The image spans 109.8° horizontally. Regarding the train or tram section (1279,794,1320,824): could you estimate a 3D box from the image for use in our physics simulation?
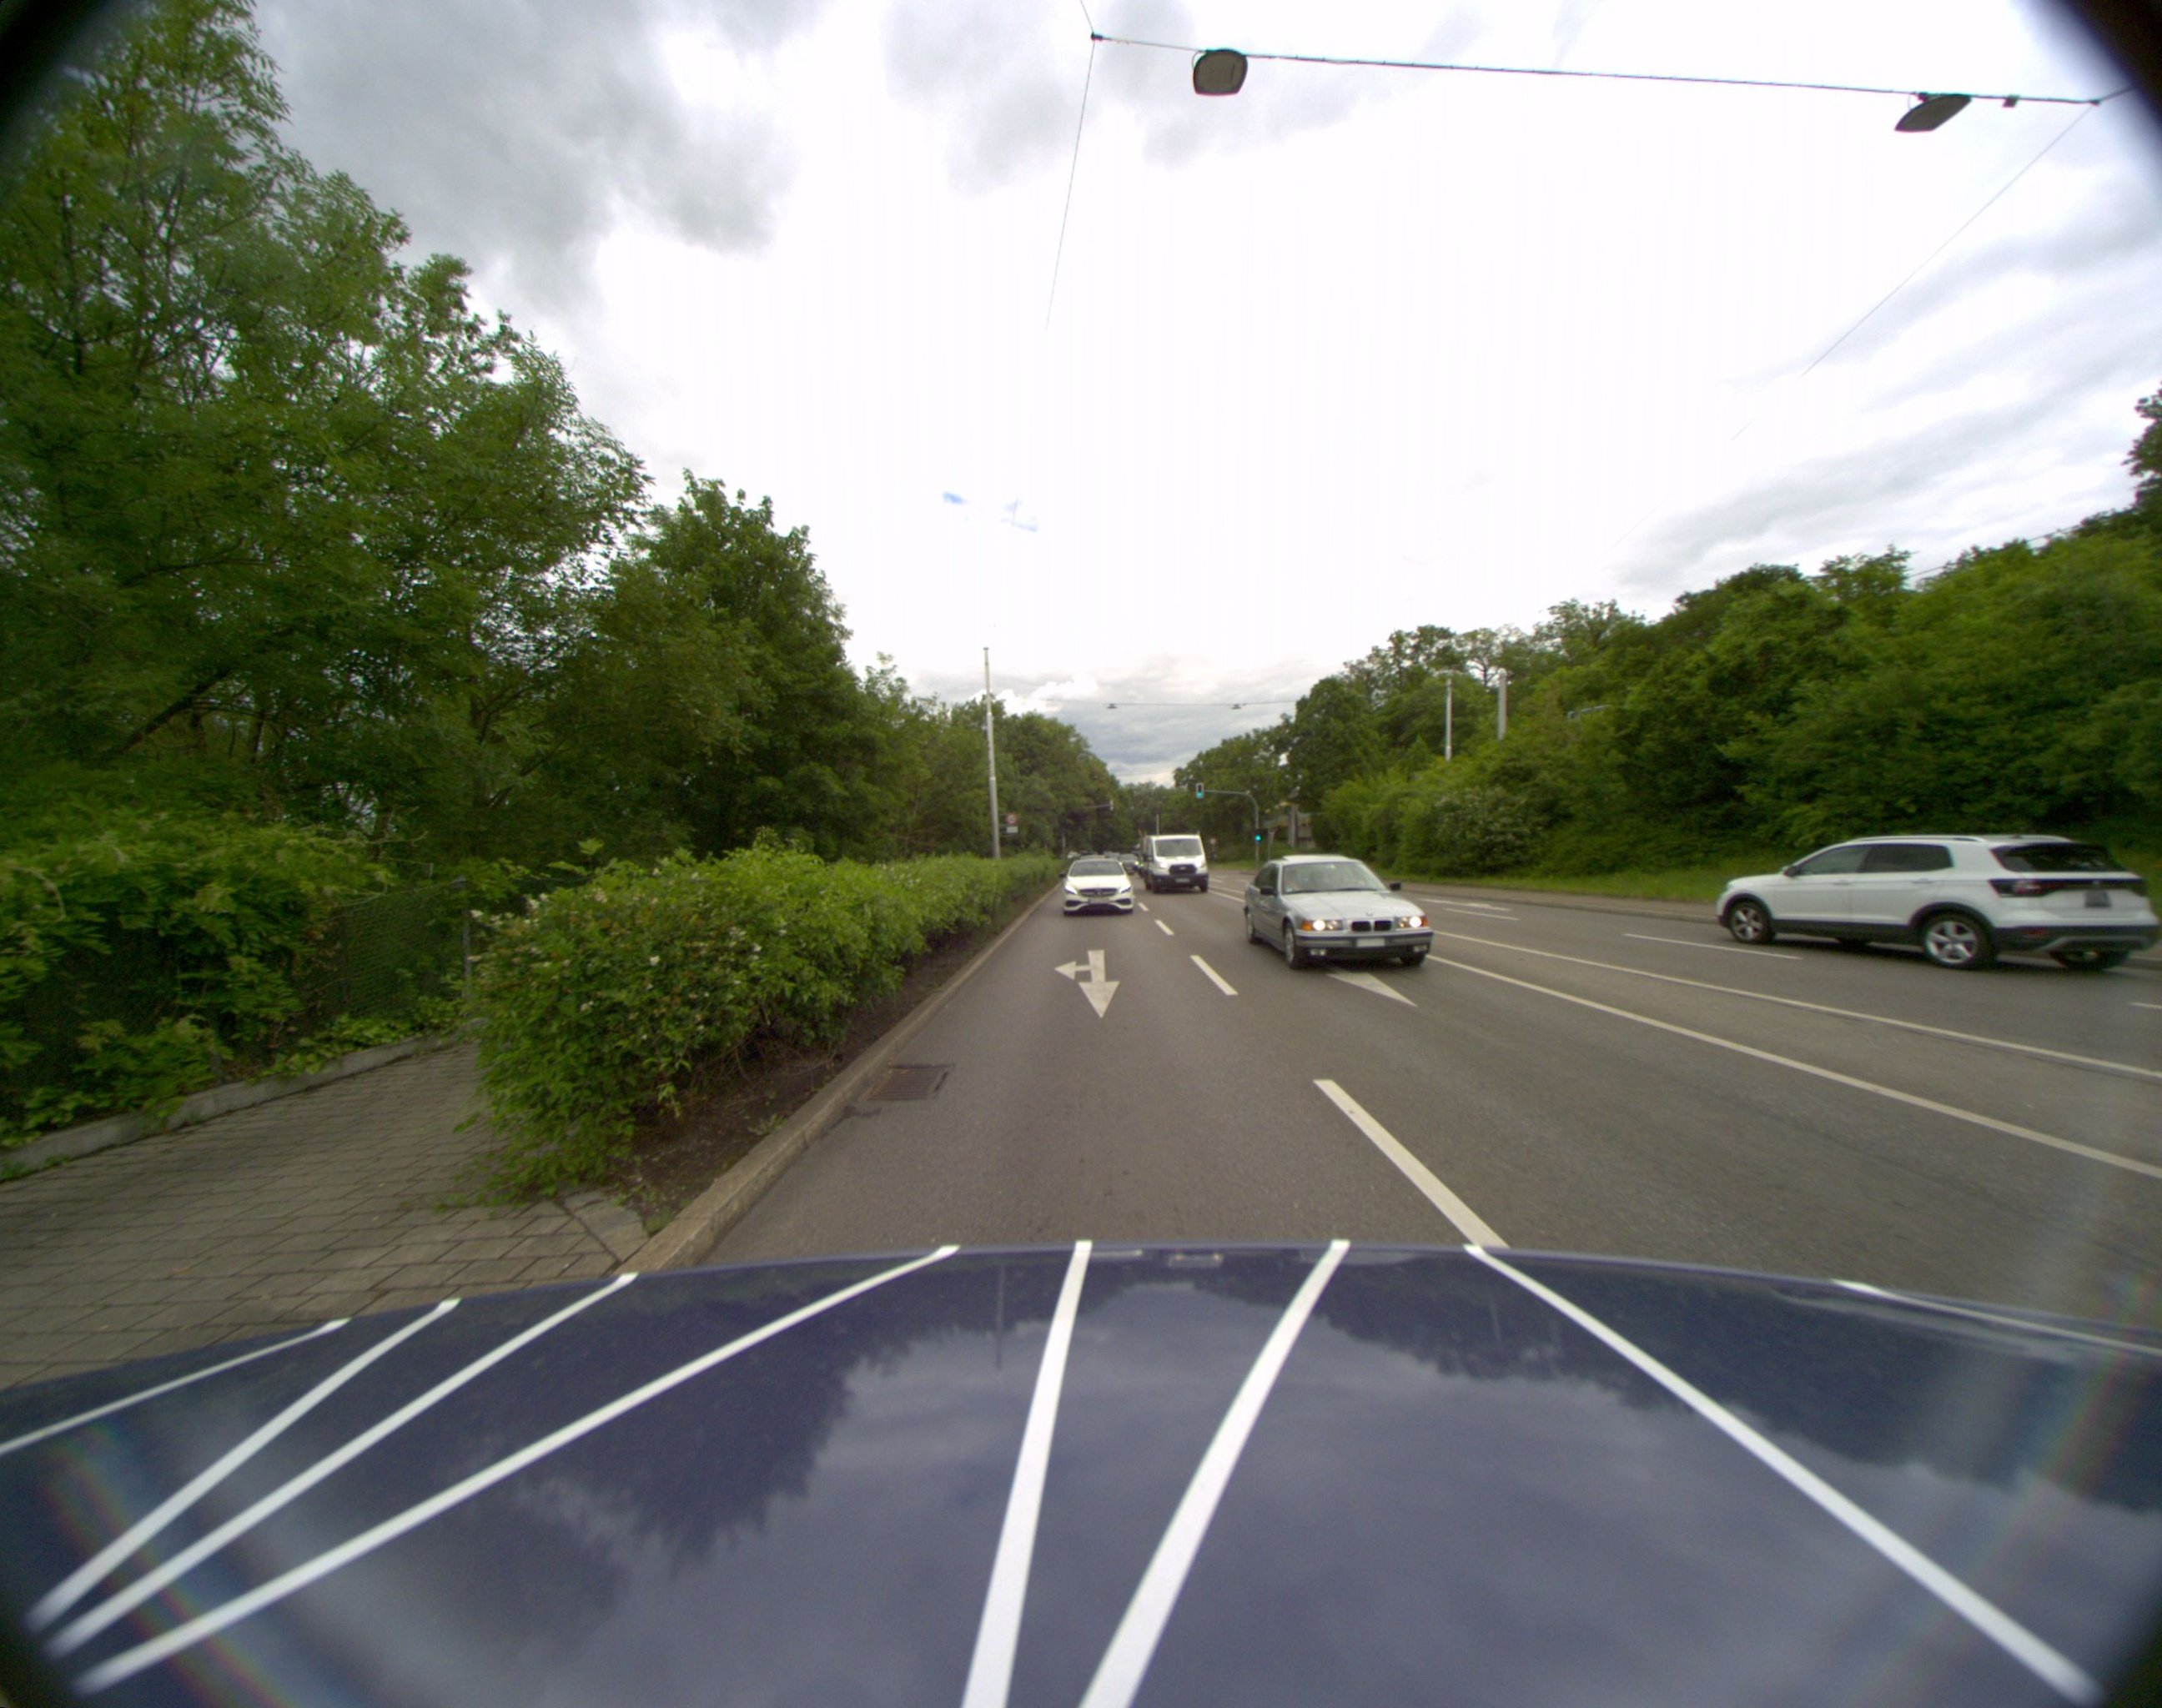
[{"bbox_3d":[24.741,-5.053,86.425,2.062,3.026,8.149,-3,1,-1],"label":"train or tram section"}]

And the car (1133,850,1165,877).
[{"bbox_3d":[4.210,0.558,47.295,1.677,1.532,4.553,-1,0,1],"label":"car"}]

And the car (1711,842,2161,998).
[{"bbox_3d":[10.723,0.665,9.793,1.733,1.532,4.042,-2,0,-2],"label":"car"}]

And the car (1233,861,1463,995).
[{"bbox_3d":[3.383,0.836,10.629,1.757,1.385,4.615,-1,0,2],"label":"car"}]

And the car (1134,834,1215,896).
[{"bbox_3d":[3.541,0.356,30.194,2.253,2.113,6.668,-2,0,-1],"label":"car"}]

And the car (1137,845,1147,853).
[{"bbox_3d":[13.724,-1.161,171.655,1.761,1.863,4.619,-1,0,11],"label":"car"}]

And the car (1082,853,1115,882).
[{"bbox_3d":[0.935,0.706,42.565,1.678,1.532,4.614,-1,0,0],"label":"car"}]

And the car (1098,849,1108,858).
[{"bbox_3d":[3.878,-0.069,133.635,1.677,1.532,4.615,-1,0,2],"label":"car"}]

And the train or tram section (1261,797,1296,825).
[{"bbox_3d":[24.525,-5.287,94.599,2.062,3.026,8.149,-3,1,-1],"label":"train or tram section"}]

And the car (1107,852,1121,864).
[{"bbox_3d":[4.288,0.518,98.585,1.677,1.532,4.615,-1,0,1],"label":"car"}]

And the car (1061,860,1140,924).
[{"bbox_3d":[0.465,0.905,19.764,1.807,1.385,4.283,-1,0,0],"label":"car"}]

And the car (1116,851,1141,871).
[{"bbox_3d":[3.879,0.552,62.259,1.678,1.532,4.614,-2,0,0],"label":"car"}]
